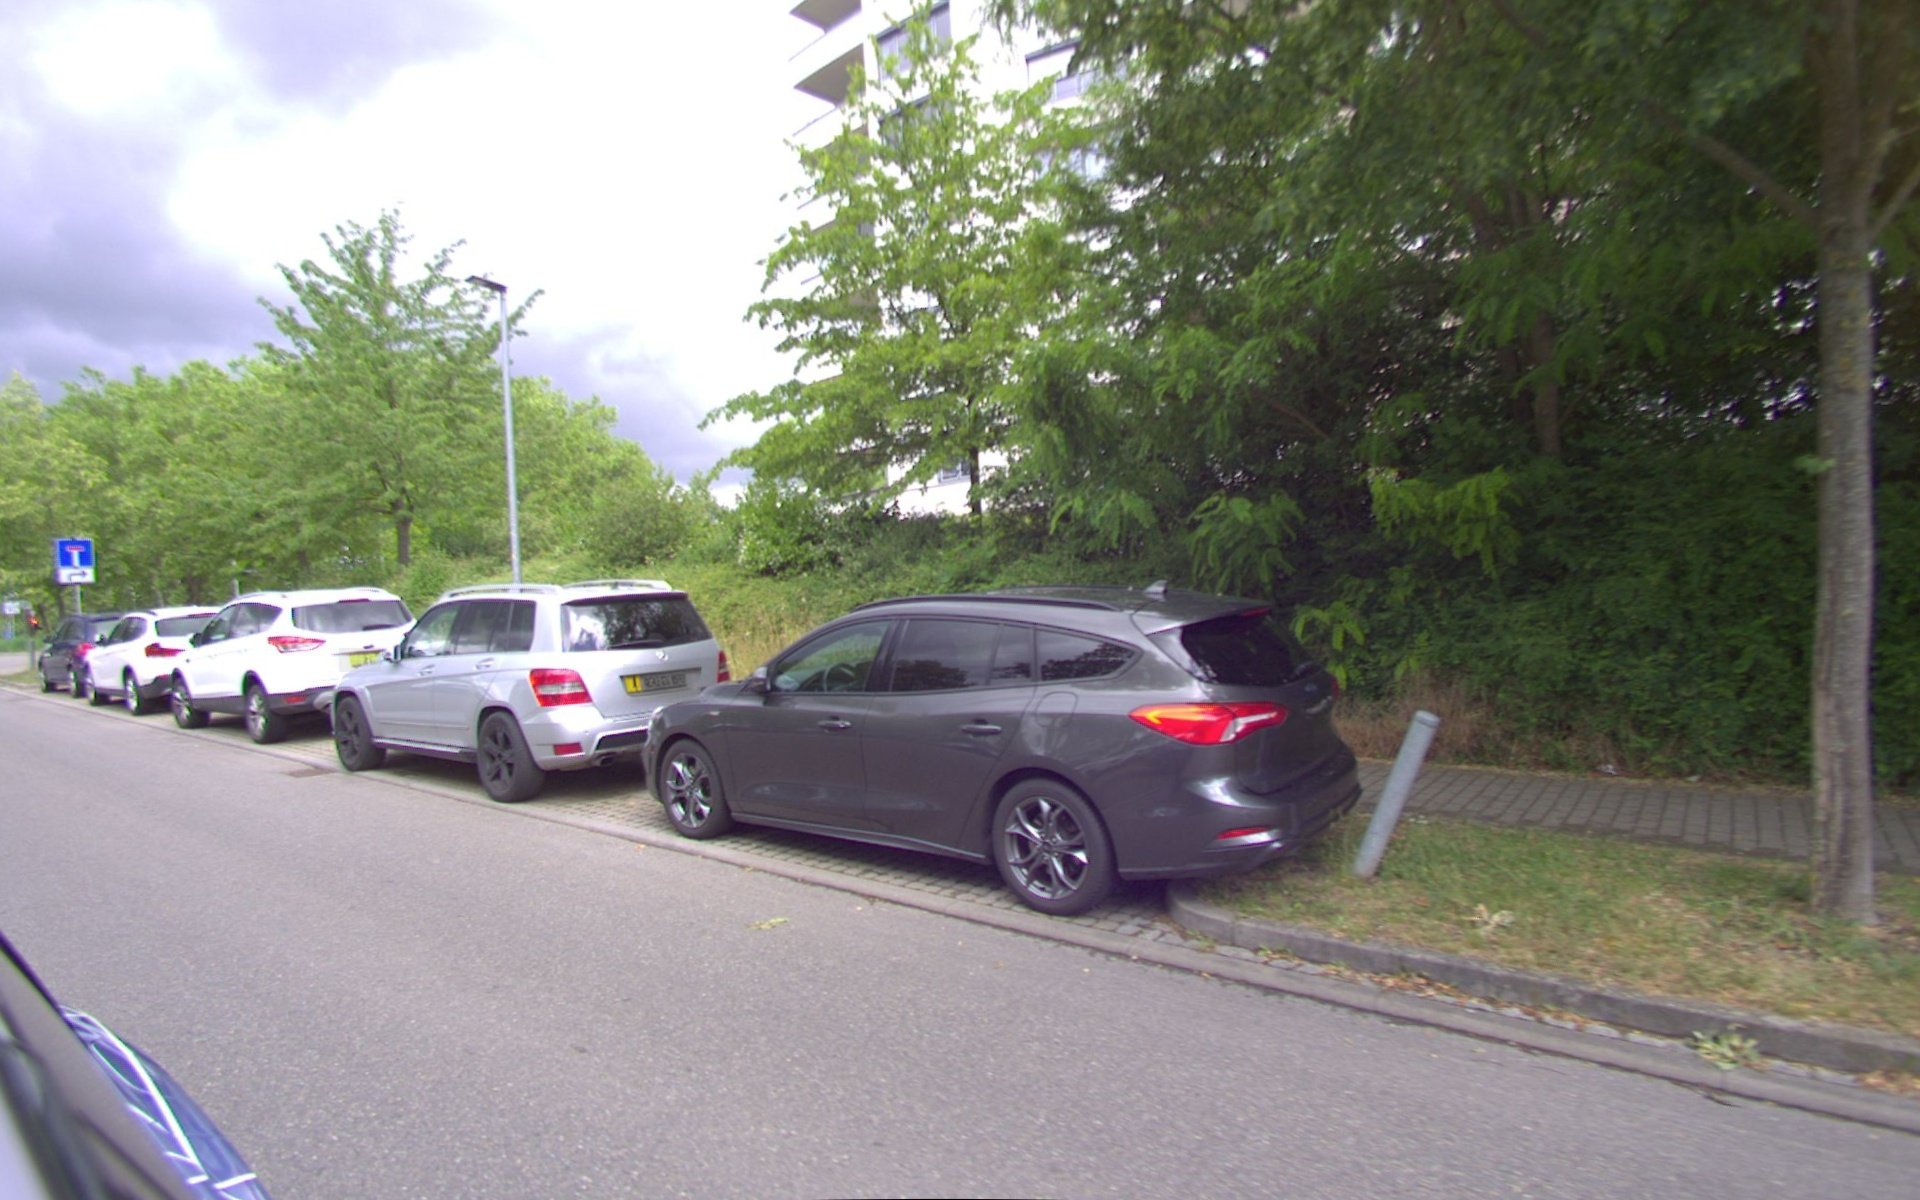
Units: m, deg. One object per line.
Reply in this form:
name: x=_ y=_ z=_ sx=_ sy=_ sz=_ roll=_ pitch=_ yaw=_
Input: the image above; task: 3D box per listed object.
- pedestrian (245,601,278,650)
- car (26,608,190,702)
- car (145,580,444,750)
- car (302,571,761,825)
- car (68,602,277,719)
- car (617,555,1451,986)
pedestrian: x=-24.095 y=0.887 z=34.920 sx=0.717 sy=1.623 sz=0.627 roll=-5 pitch=-2 yaw=31
car: x=-16.382 y=1.016 z=19.405 sx=3.950 sy=1.498 sz=1.673 roll=-2 pitch=3 yaw=40
car: x=-8.417 y=0.734 z=12.642 sx=4.432 sy=1.677 sz=1.790 roll=-2 pitch=2 yaw=39
car: x=-3.930 y=0.663 z=8.902 sx=4.474 sy=1.627 sz=1.782 roll=-1 pitch=3 yaw=40
car: x=-12.666 y=0.910 z=16.191 sx=4.226 sy=1.522 sz=1.673 roll=-2 pitch=2 yaw=40
car: x=0.105 y=0.643 z=5.661 sx=4.452 sy=1.475 sz=1.673 roll=-2 pitch=3 yaw=40
